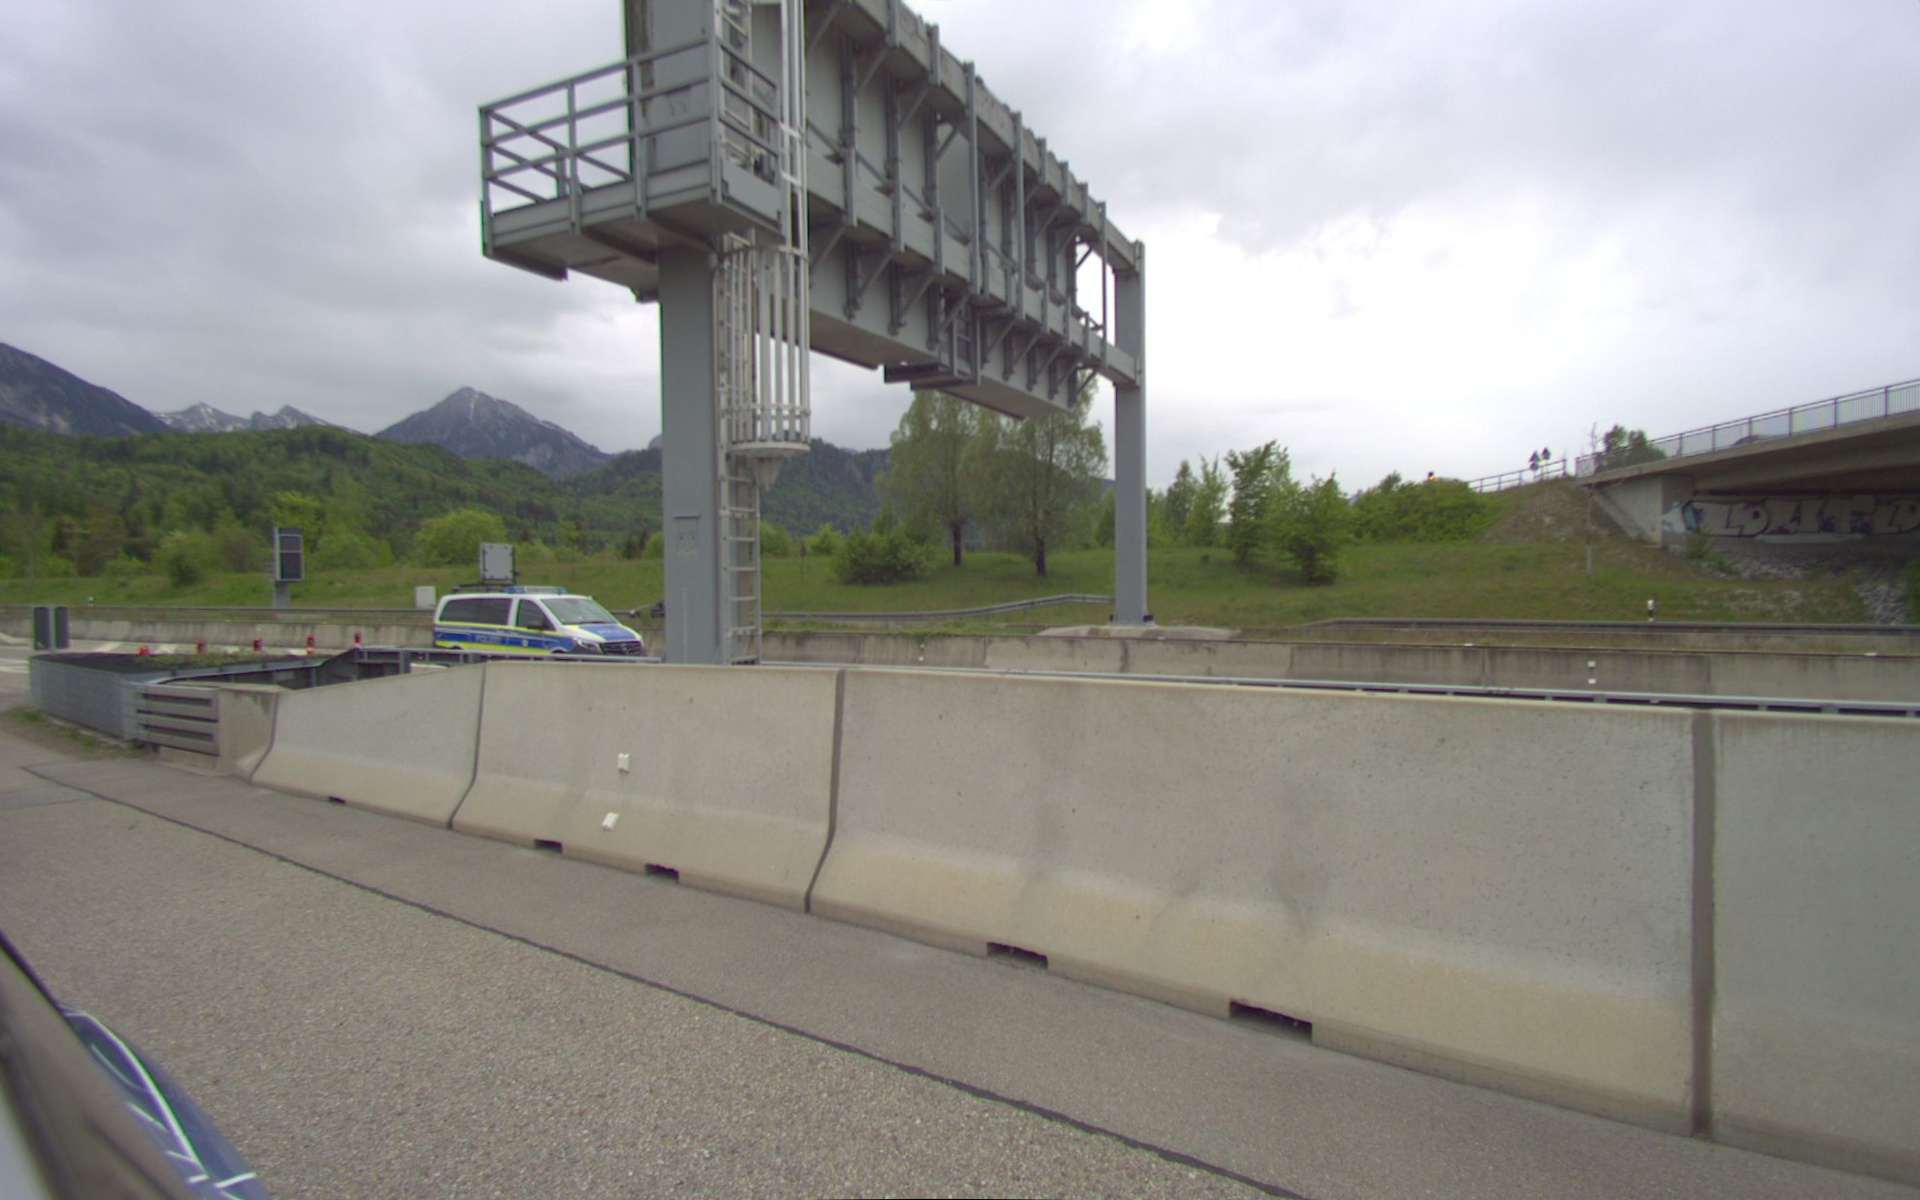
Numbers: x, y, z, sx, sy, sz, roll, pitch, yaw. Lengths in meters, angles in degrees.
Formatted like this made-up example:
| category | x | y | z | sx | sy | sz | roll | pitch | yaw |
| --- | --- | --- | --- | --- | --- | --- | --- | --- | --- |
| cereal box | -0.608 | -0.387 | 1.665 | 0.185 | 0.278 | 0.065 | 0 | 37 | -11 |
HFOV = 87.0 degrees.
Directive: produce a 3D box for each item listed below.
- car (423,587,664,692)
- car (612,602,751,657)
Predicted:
| category | x | y | z | sx | sy | sz | roll | pitch | yaw |
| --- | --- | --- | --- | --- | --- | --- | --- | --- | --- |
| car | -8.968 | 0.777 | 21.707 | 5.028 | 2.029 | 2.085 | 0 | -1 | 28 |
| car | -10.636 | 1.090 | 38.535 | 5.081 | 1.970 | 1.974 | 0 | -1 | 26 |
